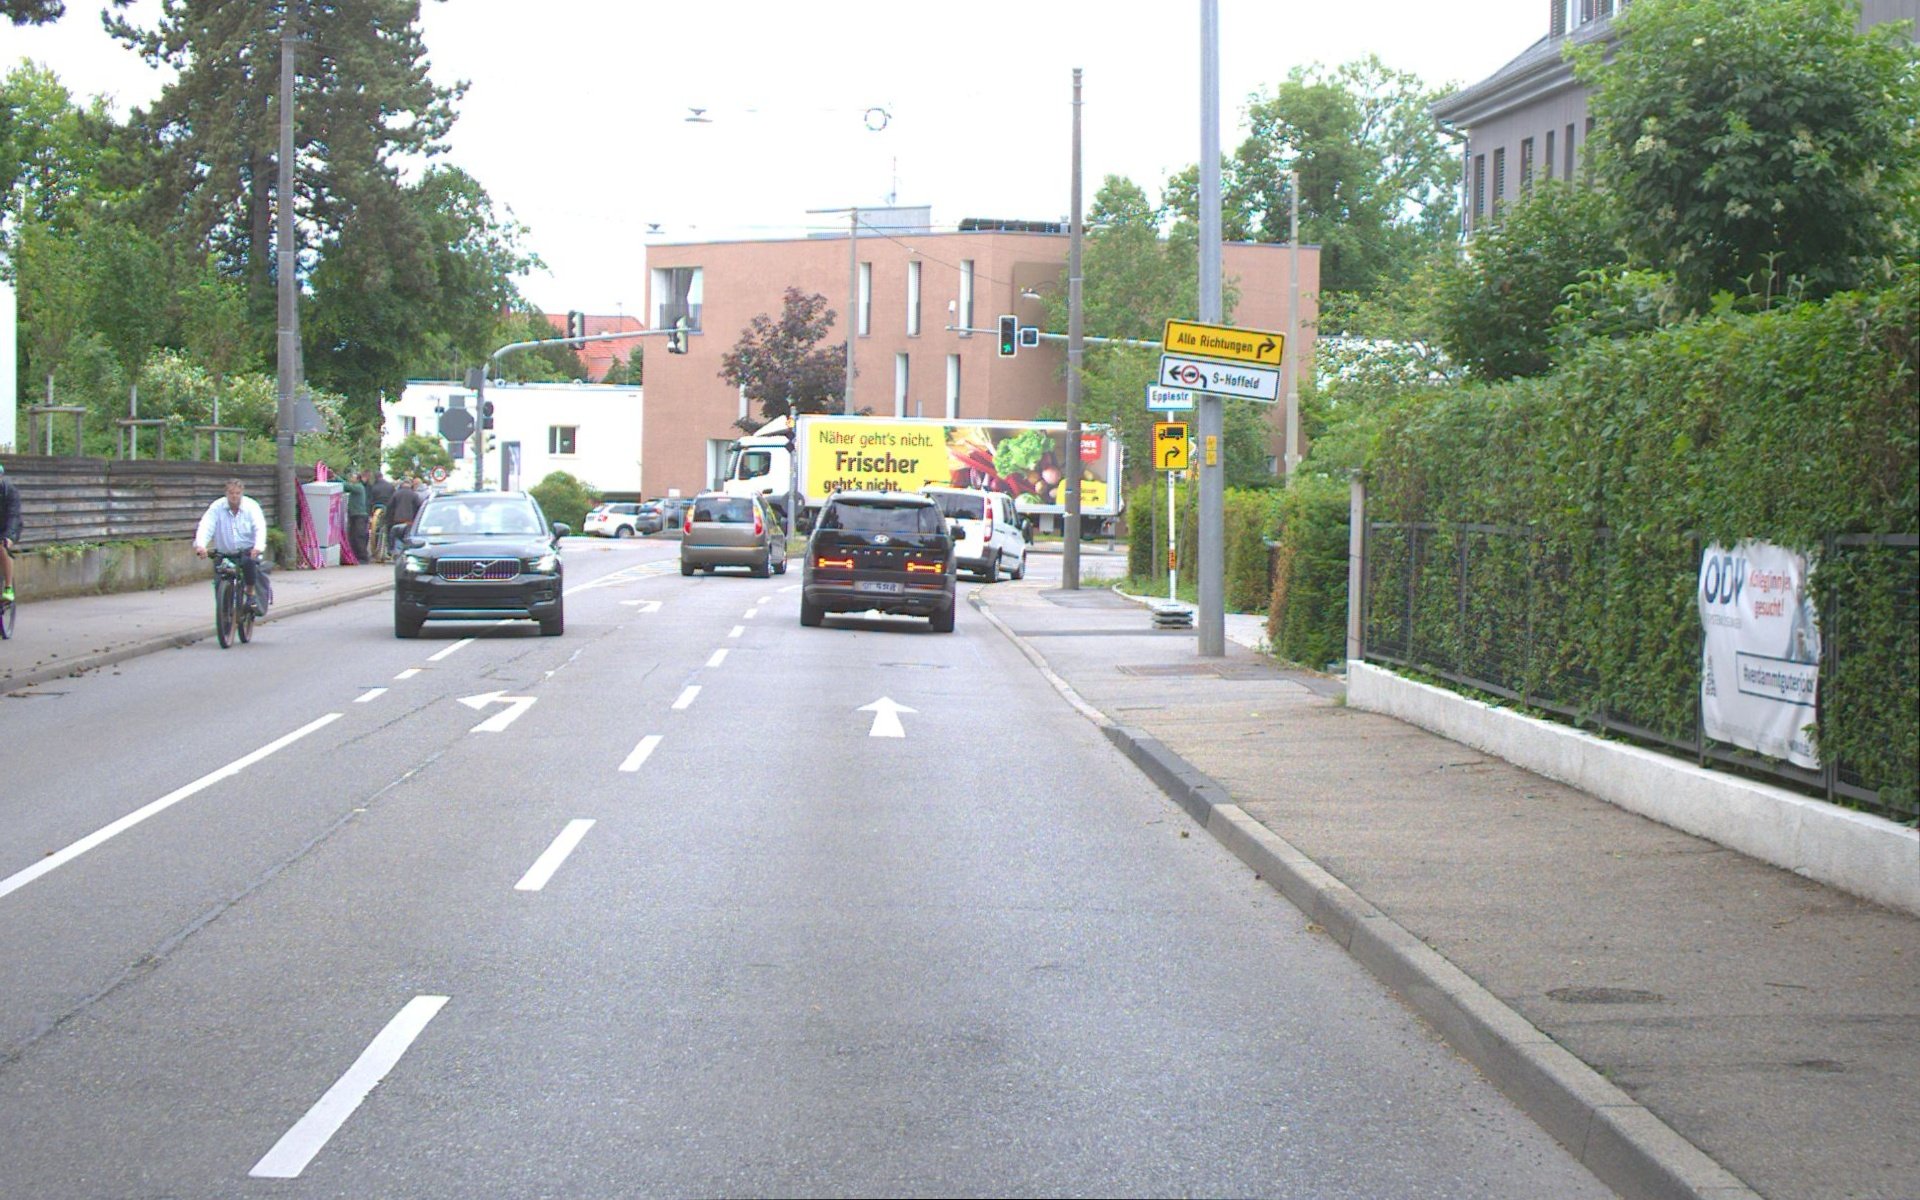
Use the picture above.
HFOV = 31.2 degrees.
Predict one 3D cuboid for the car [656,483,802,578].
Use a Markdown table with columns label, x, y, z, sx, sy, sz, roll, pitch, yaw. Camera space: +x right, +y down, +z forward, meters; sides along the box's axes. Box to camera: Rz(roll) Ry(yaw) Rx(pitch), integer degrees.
| label | x | y | z | sx | sy | sz | roll | pitch | yaw |
| --- | --- | --- | --- | --- | --- | --- | --- | --- | --- |
| car | -4.406 | -1.339 | 66.178 | 1.894 | 1.700 | 3.999 | 2 | 2 | 9 |

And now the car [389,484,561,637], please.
| label | x | y | z | sx | sy | sz | roll | pitch | yaw |
| --- | --- | --- | --- | --- | --- | --- | --- | --- | --- |
| car | -5.489 | -0.494 | 39.269 | 1.831 | 1.625 | 4.284 | 0 | 2 | -7 |

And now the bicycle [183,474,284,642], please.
| label | x | y | z | sx | sy | sz | roll | pitch | yaw |
| --- | --- | --- | --- | --- | --- | --- | --- | --- | --- |
| bicycle | -7.756 | -0.463 | 36.750 | 0.758 | 1.738 | 1.872 | 0 | 2 | -3 |

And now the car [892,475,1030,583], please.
| label | x | y | z | sx | sy | sz | roll | pitch | yaw |
| --- | --- | --- | --- | --- | --- | --- | --- | --- | --- |
| car | 0.063 | -1.521 | 72.020 | 1.963 | 2.006 | 4.426 | 5 | 3 | 10 |

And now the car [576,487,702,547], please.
| label | x | y | z | sx | sy | sz | roll | pitch | yaw |
| --- | --- | --- | --- | --- | --- | --- | --- | --- | --- |
| car | -11.618 | -3.013 | 124.433 | 3.986 | 2.006 | 2.000 | 1 | 2 | -30 |

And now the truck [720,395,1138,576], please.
| label | x | y | z | sx | sy | sz | roll | pitch | yaw |
| --- | --- | --- | --- | --- | --- | --- | --- | --- | --- |
| truck | -0.962 | -3.316 | 99.521 | 11.754 | 4.718 | 3.136 | 2 | 2 | -3 |

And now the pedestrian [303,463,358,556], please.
| label | x | y | z | sx | sy | sz | roll | pitch | yaw |
| --- | --- | --- | --- | --- | --- | --- | --- | --- | --- |
| pedestrian | -12.299 | -1.770 | 67.129 | 0.815 | 1.757 | 0.868 | 1 | 2 | -24 |

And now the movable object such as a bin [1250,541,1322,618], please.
| label | x | y | z | sx | sy | sz | roll | pitch | yaw |
| --- | --- | --- | --- | --- | --- | --- | --- | --- | --- |
| movable object such as a bin | 4.773 | -0.304 | 50.350 | 0.714 | 1.070 | 0.682 | 3 | 1 | -39 |

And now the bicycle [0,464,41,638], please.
| label | x | y | z | sx | sy | sz | roll | pitch | yaw |
| --- | --- | --- | --- | --- | --- | --- | --- | --- | --- |
| bicycle | -9.480 | -0.494 | 33.468 | 0.561 | 1.670 | 1.981 | 2 | 1 | -3 |

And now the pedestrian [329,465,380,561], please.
| label | x | y | z | sx | sy | sz | roll | pitch | yaw |
| --- | --- | --- | --- | --- | --- | --- | --- | --- | --- |
| pedestrian | -11.820 | -1.703 | 67.094 | 0.750 | 1.831 | 0.615 | 1 | 2 | -30 |

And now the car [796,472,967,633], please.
| label | x | y | z | sx | sy | sz | roll | pitch | yaw |
| --- | --- | --- | --- | --- | --- | --- | --- | --- | --- |
| car | -0.989 | -0.588 | 43.287 | 1.993 | 1.875 | 4.000 | 2 | 1 | -1 |

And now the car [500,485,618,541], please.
| label | x | y | z | sx | sy | sz | roll | pitch | yaw |
| --- | --- | --- | --- | --- | --- | --- | --- | --- | --- |
| car | -15.320 | -3.324 | 131.475 | 3.986 | 2.006 | 2.000 | 0 | 2 | -29 |

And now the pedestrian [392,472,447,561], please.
| label | x | y | z | sx | sy | sz | roll | pitch | yaw |
| --- | --- | --- | --- | --- | --- | --- | --- | --- | --- |
| pedestrian | -10.734 | -1.654 | 68.248 | 0.695 | 1.728 | 0.750 | 4 | 2 | 43 |
